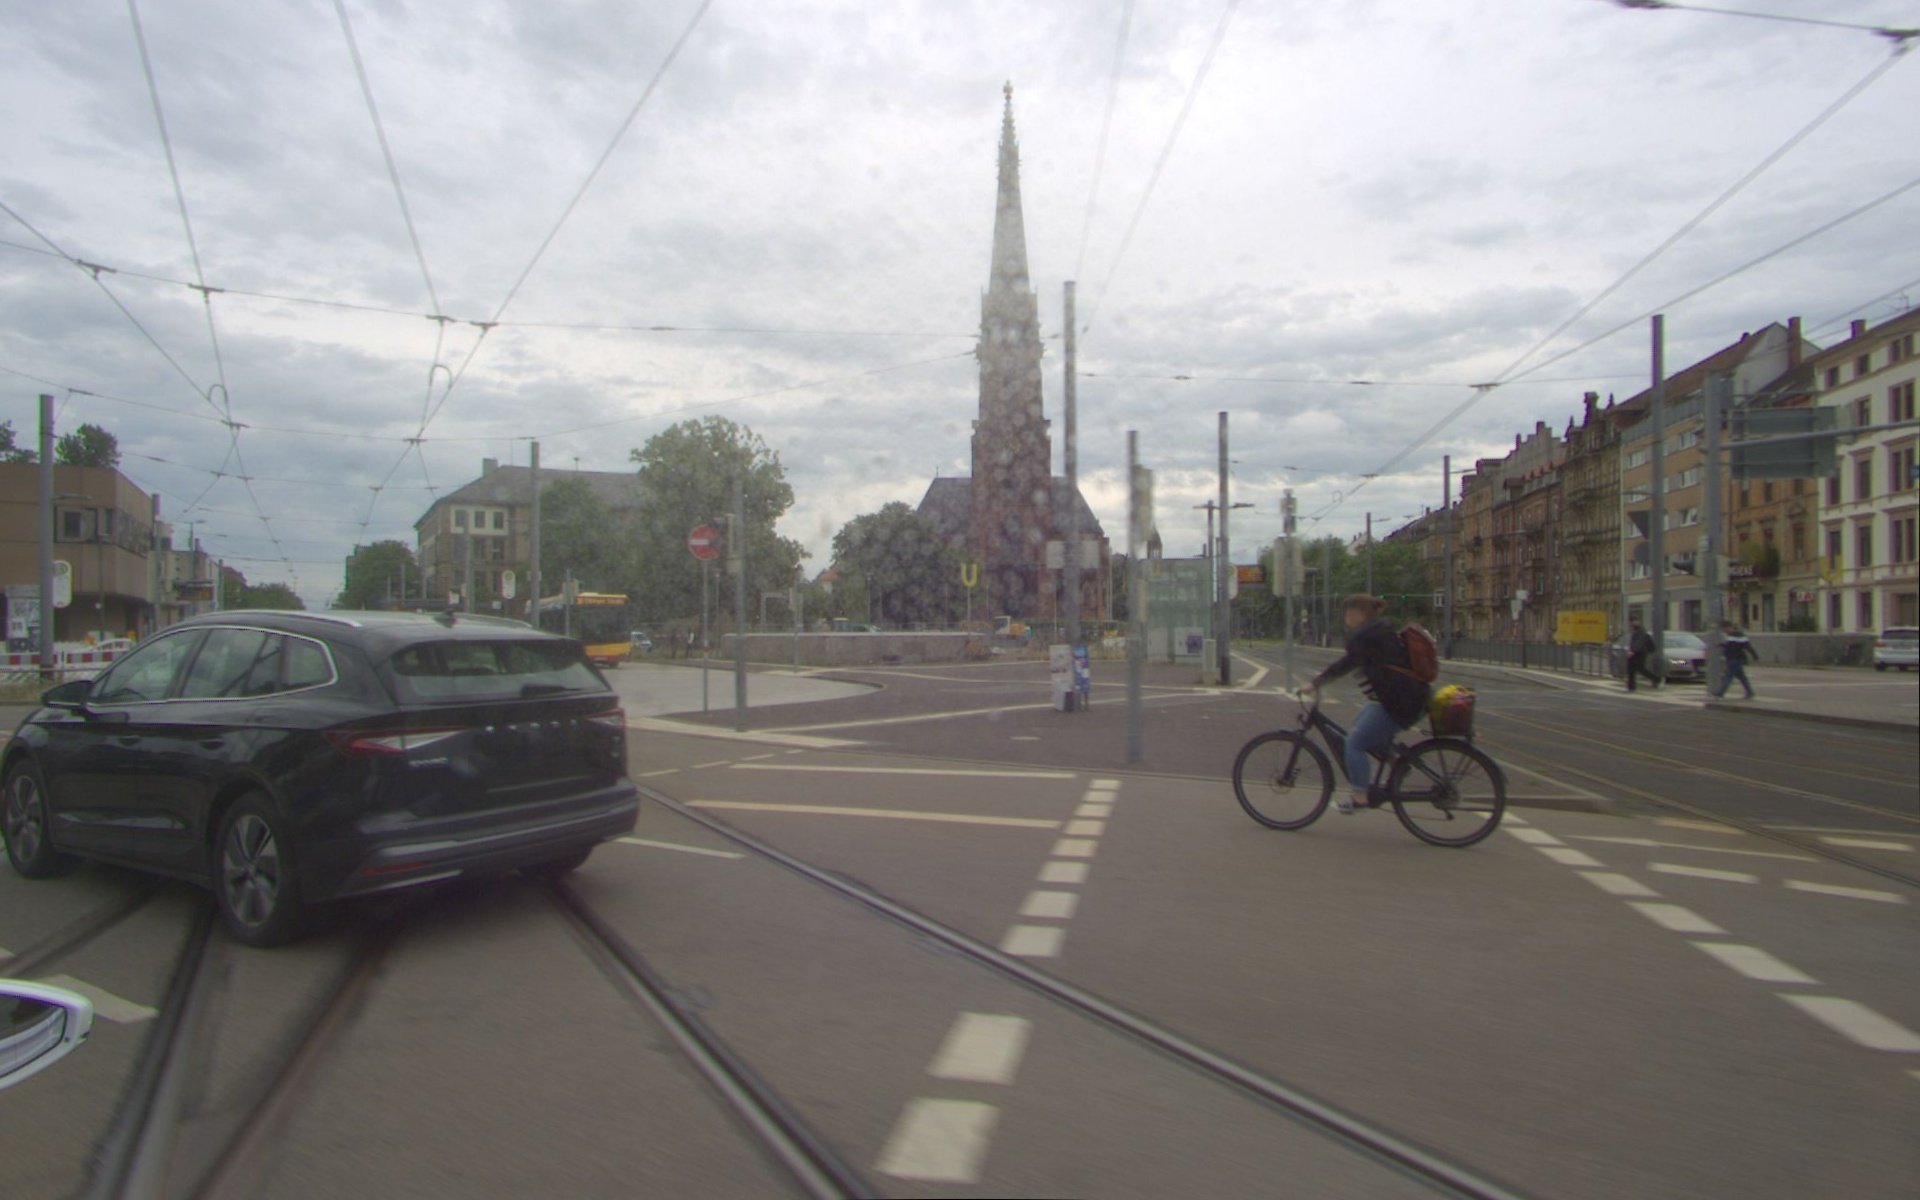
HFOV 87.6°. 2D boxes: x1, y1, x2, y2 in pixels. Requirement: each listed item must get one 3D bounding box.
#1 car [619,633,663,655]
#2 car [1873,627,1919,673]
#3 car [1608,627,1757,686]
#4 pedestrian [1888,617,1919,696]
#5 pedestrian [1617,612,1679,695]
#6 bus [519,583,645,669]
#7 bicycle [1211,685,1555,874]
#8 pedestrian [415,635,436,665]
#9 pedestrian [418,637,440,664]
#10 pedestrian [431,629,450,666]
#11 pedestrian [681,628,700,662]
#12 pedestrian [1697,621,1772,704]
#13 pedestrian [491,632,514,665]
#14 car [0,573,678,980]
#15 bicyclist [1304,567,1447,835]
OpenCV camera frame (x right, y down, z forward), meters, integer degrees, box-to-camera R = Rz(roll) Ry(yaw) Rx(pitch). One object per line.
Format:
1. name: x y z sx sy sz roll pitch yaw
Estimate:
1. car: -26.022 3.588 81.607 1.896 1.683 3.963 1 -2 -43
2. car: 34.552 1.789 36.276 3.698 1.607 1.722 2 -3 -41
3. car: 20.145 1.571 28.159 1.964 1.504 4.442 -1 -3 16
4. pedestrian: 20.249 1.180 20.961 0.933 1.632 0.768 0 -2 -9
5. pedestrian: 16.463 1.269 23.979 0.887 1.936 0.784 0 -2 -9
6. bus: -17.225 1.281 44.798 2.984 3.308 12.976 1 -3 -31
7. bicycle: 2.845 1.152 6.881 2.097 1.068 0.623 -2 -2 35
8. pedestrian: -29.160 2.723 54.663 1.006 1.595 1.003 0 -2 -29
9. pedestrian: -28.056 2.668 52.926 1.006 1.420 1.003 0 -2 -28
10. pedestrian: -26.016 2.353 50.137 0.814 1.831 1.017 0 -2 -28
11. pedestrian: -15.066 2.494 55.984 0.814 1.877 1.017 0 -2 -28
12. pedestrian: 15.870 1.276 20.537 0.887 1.664 0.784 0 -2 -9
13. pedestrian: -23.091 2.445 50.542 0.993 1.666 1.017 0 -2 -28
14. car: -4.015 0.816 6.095 4.448 1.679 1.901 -2 -2 30
15. bicyclist: 2.863 0.662 6.896 0.795 1.712 0.614 -1 -2 35
